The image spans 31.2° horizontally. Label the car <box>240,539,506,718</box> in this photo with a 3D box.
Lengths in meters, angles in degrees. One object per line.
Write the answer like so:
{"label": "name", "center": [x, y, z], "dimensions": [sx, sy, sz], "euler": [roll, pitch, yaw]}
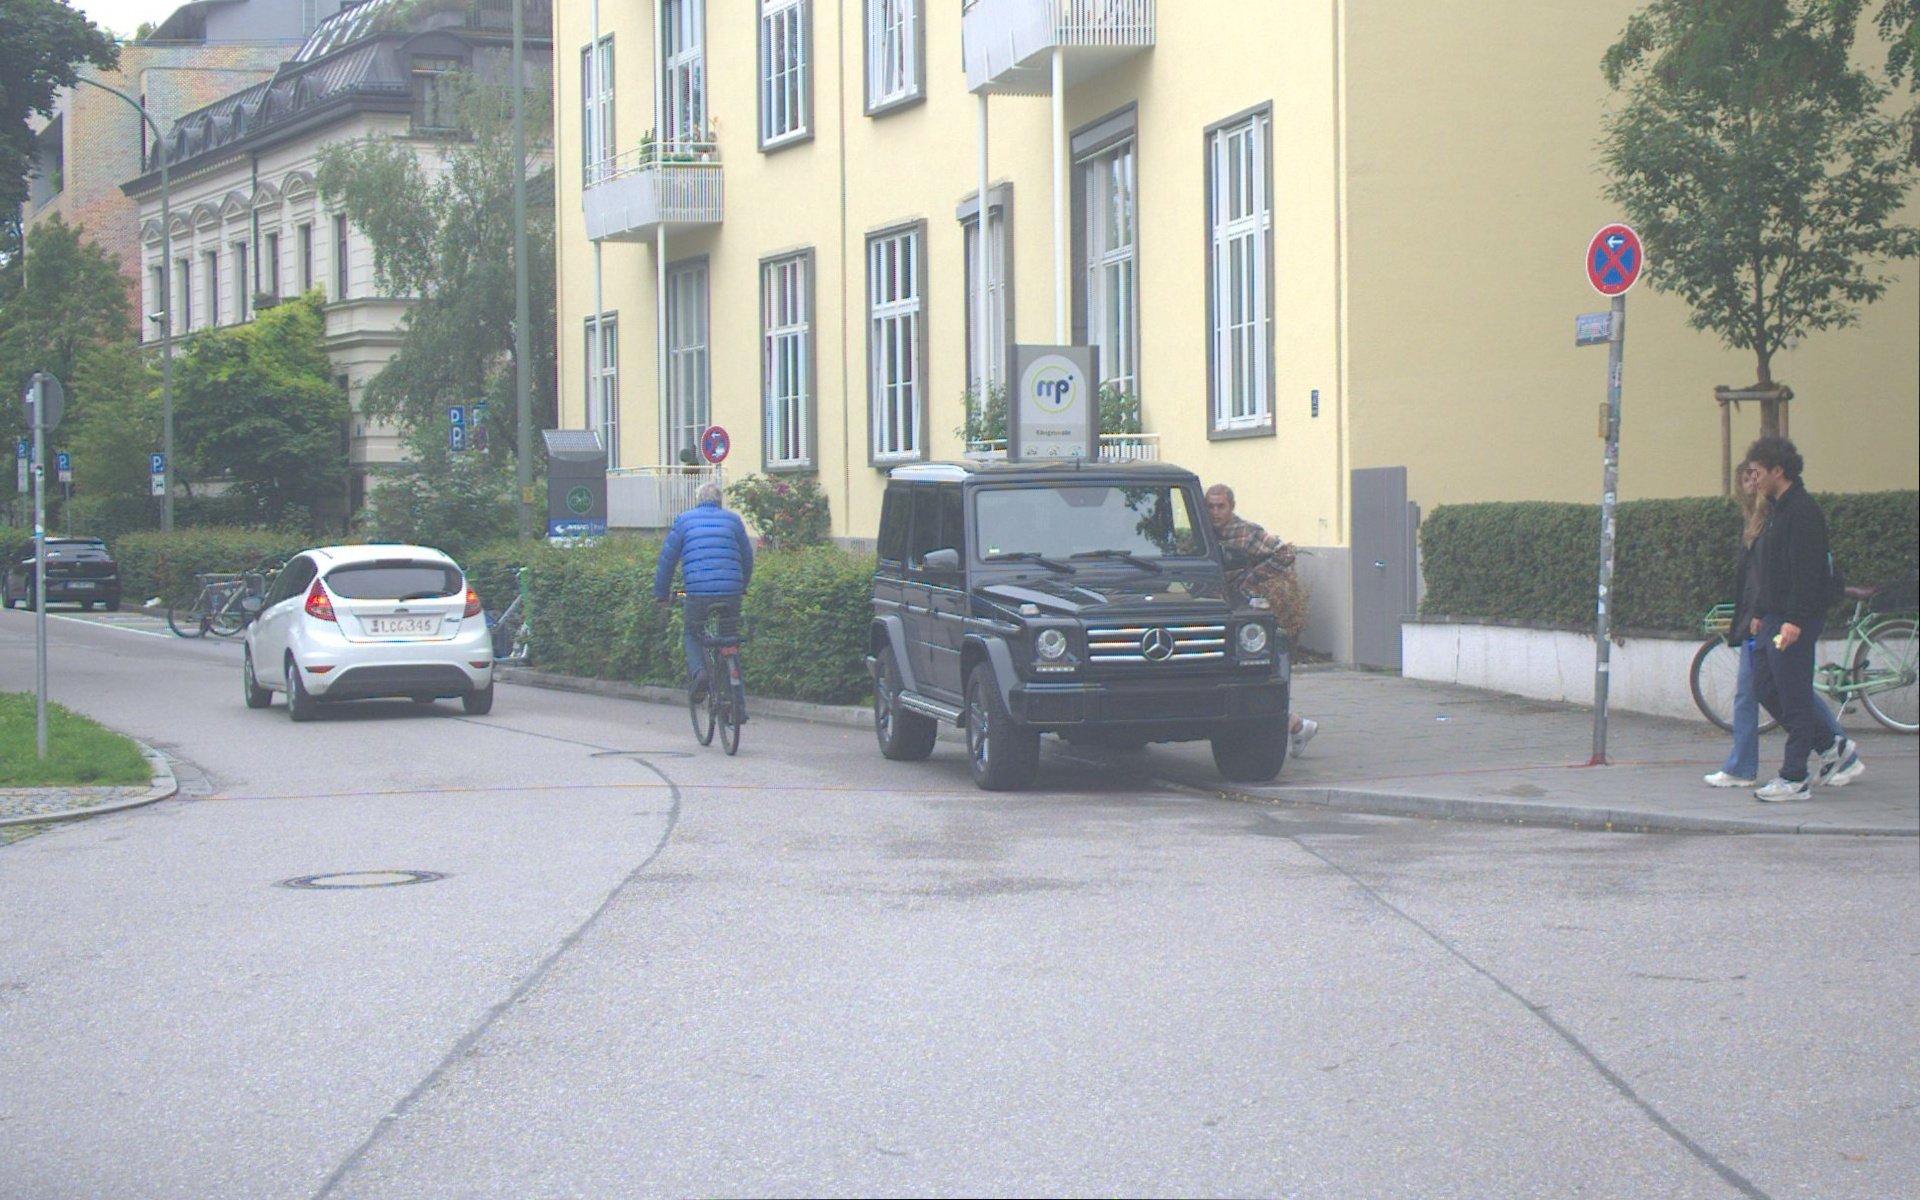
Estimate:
{"label": "car", "center": [-5.145, 0.194, 29.806], "dimensions": [1.747, 1.401, 3.728], "euler": [-1, 2, -18]}

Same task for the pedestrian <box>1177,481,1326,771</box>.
{"label": "pedestrian", "center": [1.810, 0.146, 21.464], "dimensions": [0.848, 1.751, 0.953], "euler": [-1, 2, 3]}

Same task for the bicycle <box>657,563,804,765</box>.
{"label": "bicycle", "center": [-1.567, 0.399, 23.376], "dimensions": [0.921, 1.248, 2.322], "euler": [-1, 2, -4]}

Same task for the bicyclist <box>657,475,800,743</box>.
{"label": "bicyclist", "center": [-1.573, 0.043, 23.428], "dimensions": [0.914, 1.758, 1.215], "euler": [-1, 2, -3]}

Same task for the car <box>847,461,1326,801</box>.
{"label": "car", "center": [0.657, 0.111, 21.761], "dimensions": [1.873, 1.881, 4.620], "euler": [-1, 2, -13]}

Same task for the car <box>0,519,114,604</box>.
{"label": "car", "center": [-17.340, -0.768, 65.935], "dimensions": [1.646, 1.553, 3.560], "euler": [-2, 2, -22]}

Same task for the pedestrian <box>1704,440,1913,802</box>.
{"label": "pedestrian", "center": [4.319, 0.102, 17.522], "dimensions": [0.990, 1.803, 0.659], "euler": [-1, 1, 14]}

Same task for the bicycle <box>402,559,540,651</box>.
{"label": "bicycle", "center": [-5.748, 0.056, 40.450], "dimensions": [1.532, 1.011, 0.367], "euler": [-3, 2, -25]}

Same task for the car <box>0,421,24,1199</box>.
{"label": "car", "center": [-3.071, 0.545, 5.353], "dimensions": [1.993, 1.713, 4.615], "euler": [-1, 2, -1]}

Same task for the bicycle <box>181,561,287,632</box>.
{"label": "bicycle", "center": [-11.081, -0.066, 52.493], "dimensions": [1.533, 1.011, 0.409], "euler": [-3, 2, -39]}

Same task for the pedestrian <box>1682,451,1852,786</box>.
{"label": "pedestrian", "center": [4.314, 0.087, 18.345], "dimensions": [0.827, 1.740, 0.740], "euler": [-1, 2, 16]}

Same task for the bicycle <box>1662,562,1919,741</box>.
{"label": "bicycle", "center": [5.404, 0.328, 21.546], "dimensions": [1.948, 1.081, 0.527], "euler": [-2, 0, 44]}
